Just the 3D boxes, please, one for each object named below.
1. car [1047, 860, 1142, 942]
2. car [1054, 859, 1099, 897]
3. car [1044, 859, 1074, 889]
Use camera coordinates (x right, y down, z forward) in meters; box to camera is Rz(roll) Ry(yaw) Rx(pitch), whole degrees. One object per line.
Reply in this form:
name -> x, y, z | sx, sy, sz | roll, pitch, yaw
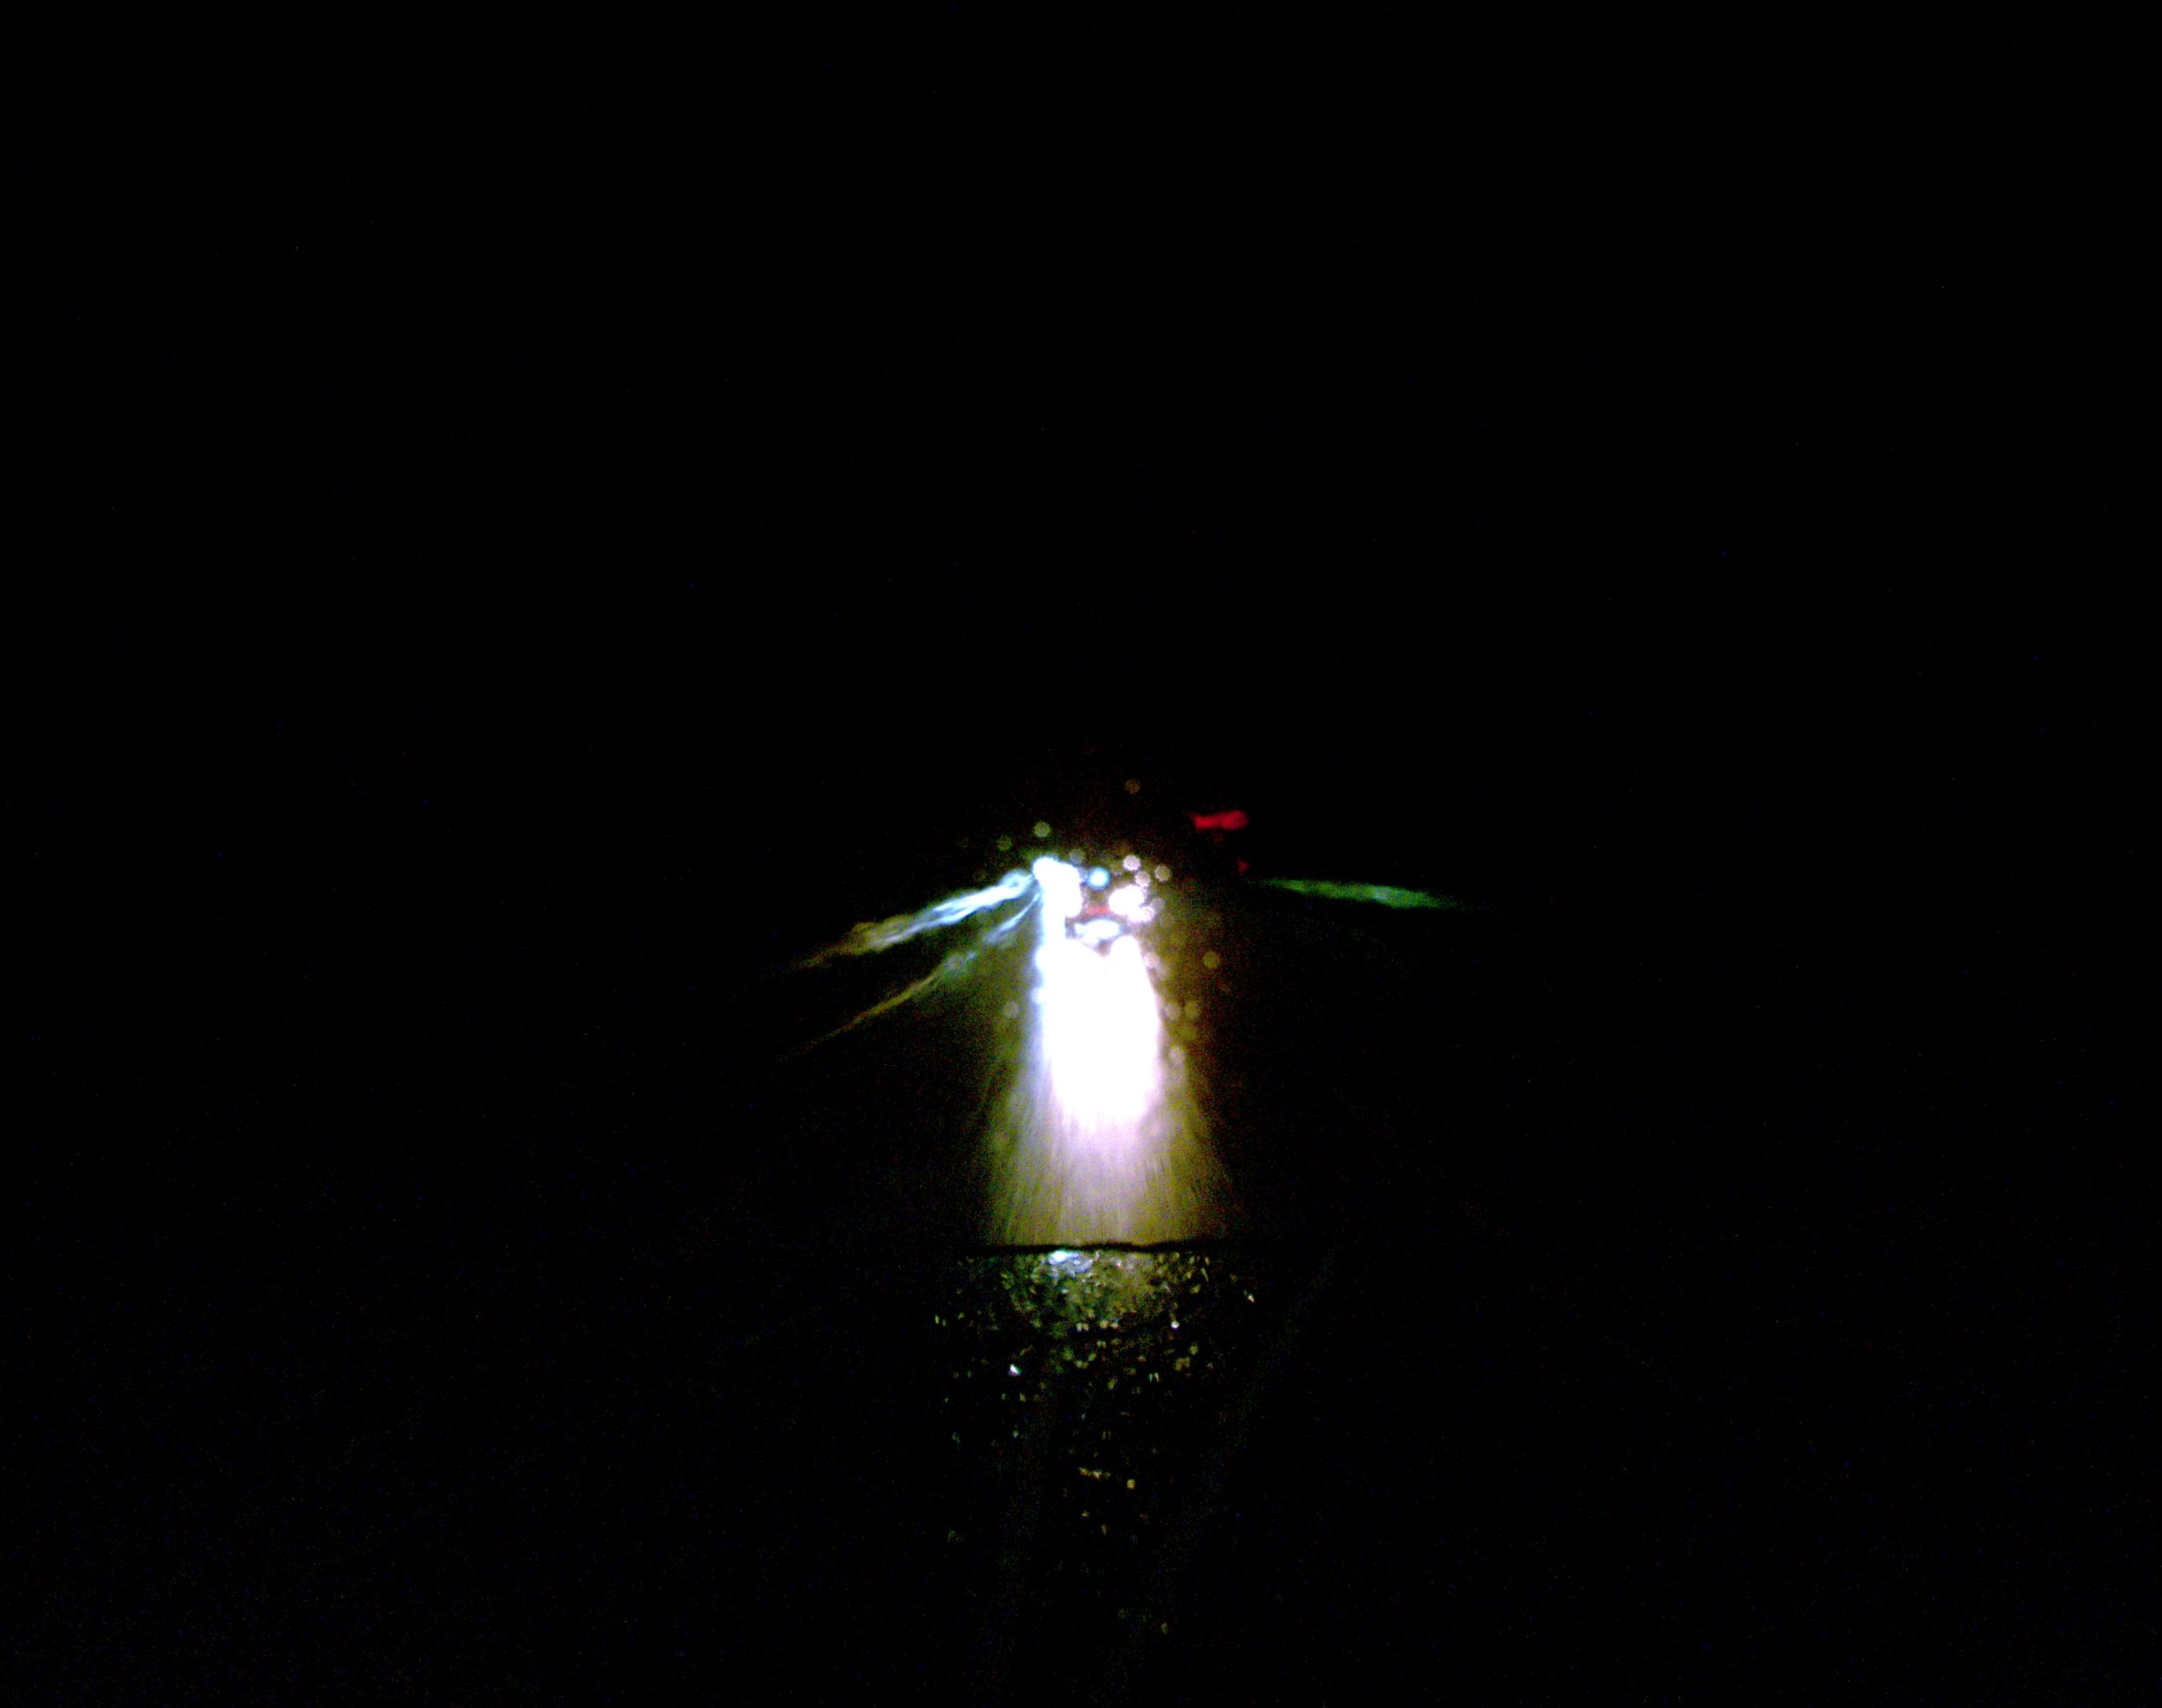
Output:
car -> 0.386, 0.967, 17.390 | 1.849, 1.441, 4.000 | -3, 1, 4
car -> -0.134, 1.031, 34.545 | 1.849, 1.441, 3.874 | -3, 1, 1
car -> -1.407, 1.289, 50.246 | 1.784, 1.696, 3.999 | -3, 1, -1
